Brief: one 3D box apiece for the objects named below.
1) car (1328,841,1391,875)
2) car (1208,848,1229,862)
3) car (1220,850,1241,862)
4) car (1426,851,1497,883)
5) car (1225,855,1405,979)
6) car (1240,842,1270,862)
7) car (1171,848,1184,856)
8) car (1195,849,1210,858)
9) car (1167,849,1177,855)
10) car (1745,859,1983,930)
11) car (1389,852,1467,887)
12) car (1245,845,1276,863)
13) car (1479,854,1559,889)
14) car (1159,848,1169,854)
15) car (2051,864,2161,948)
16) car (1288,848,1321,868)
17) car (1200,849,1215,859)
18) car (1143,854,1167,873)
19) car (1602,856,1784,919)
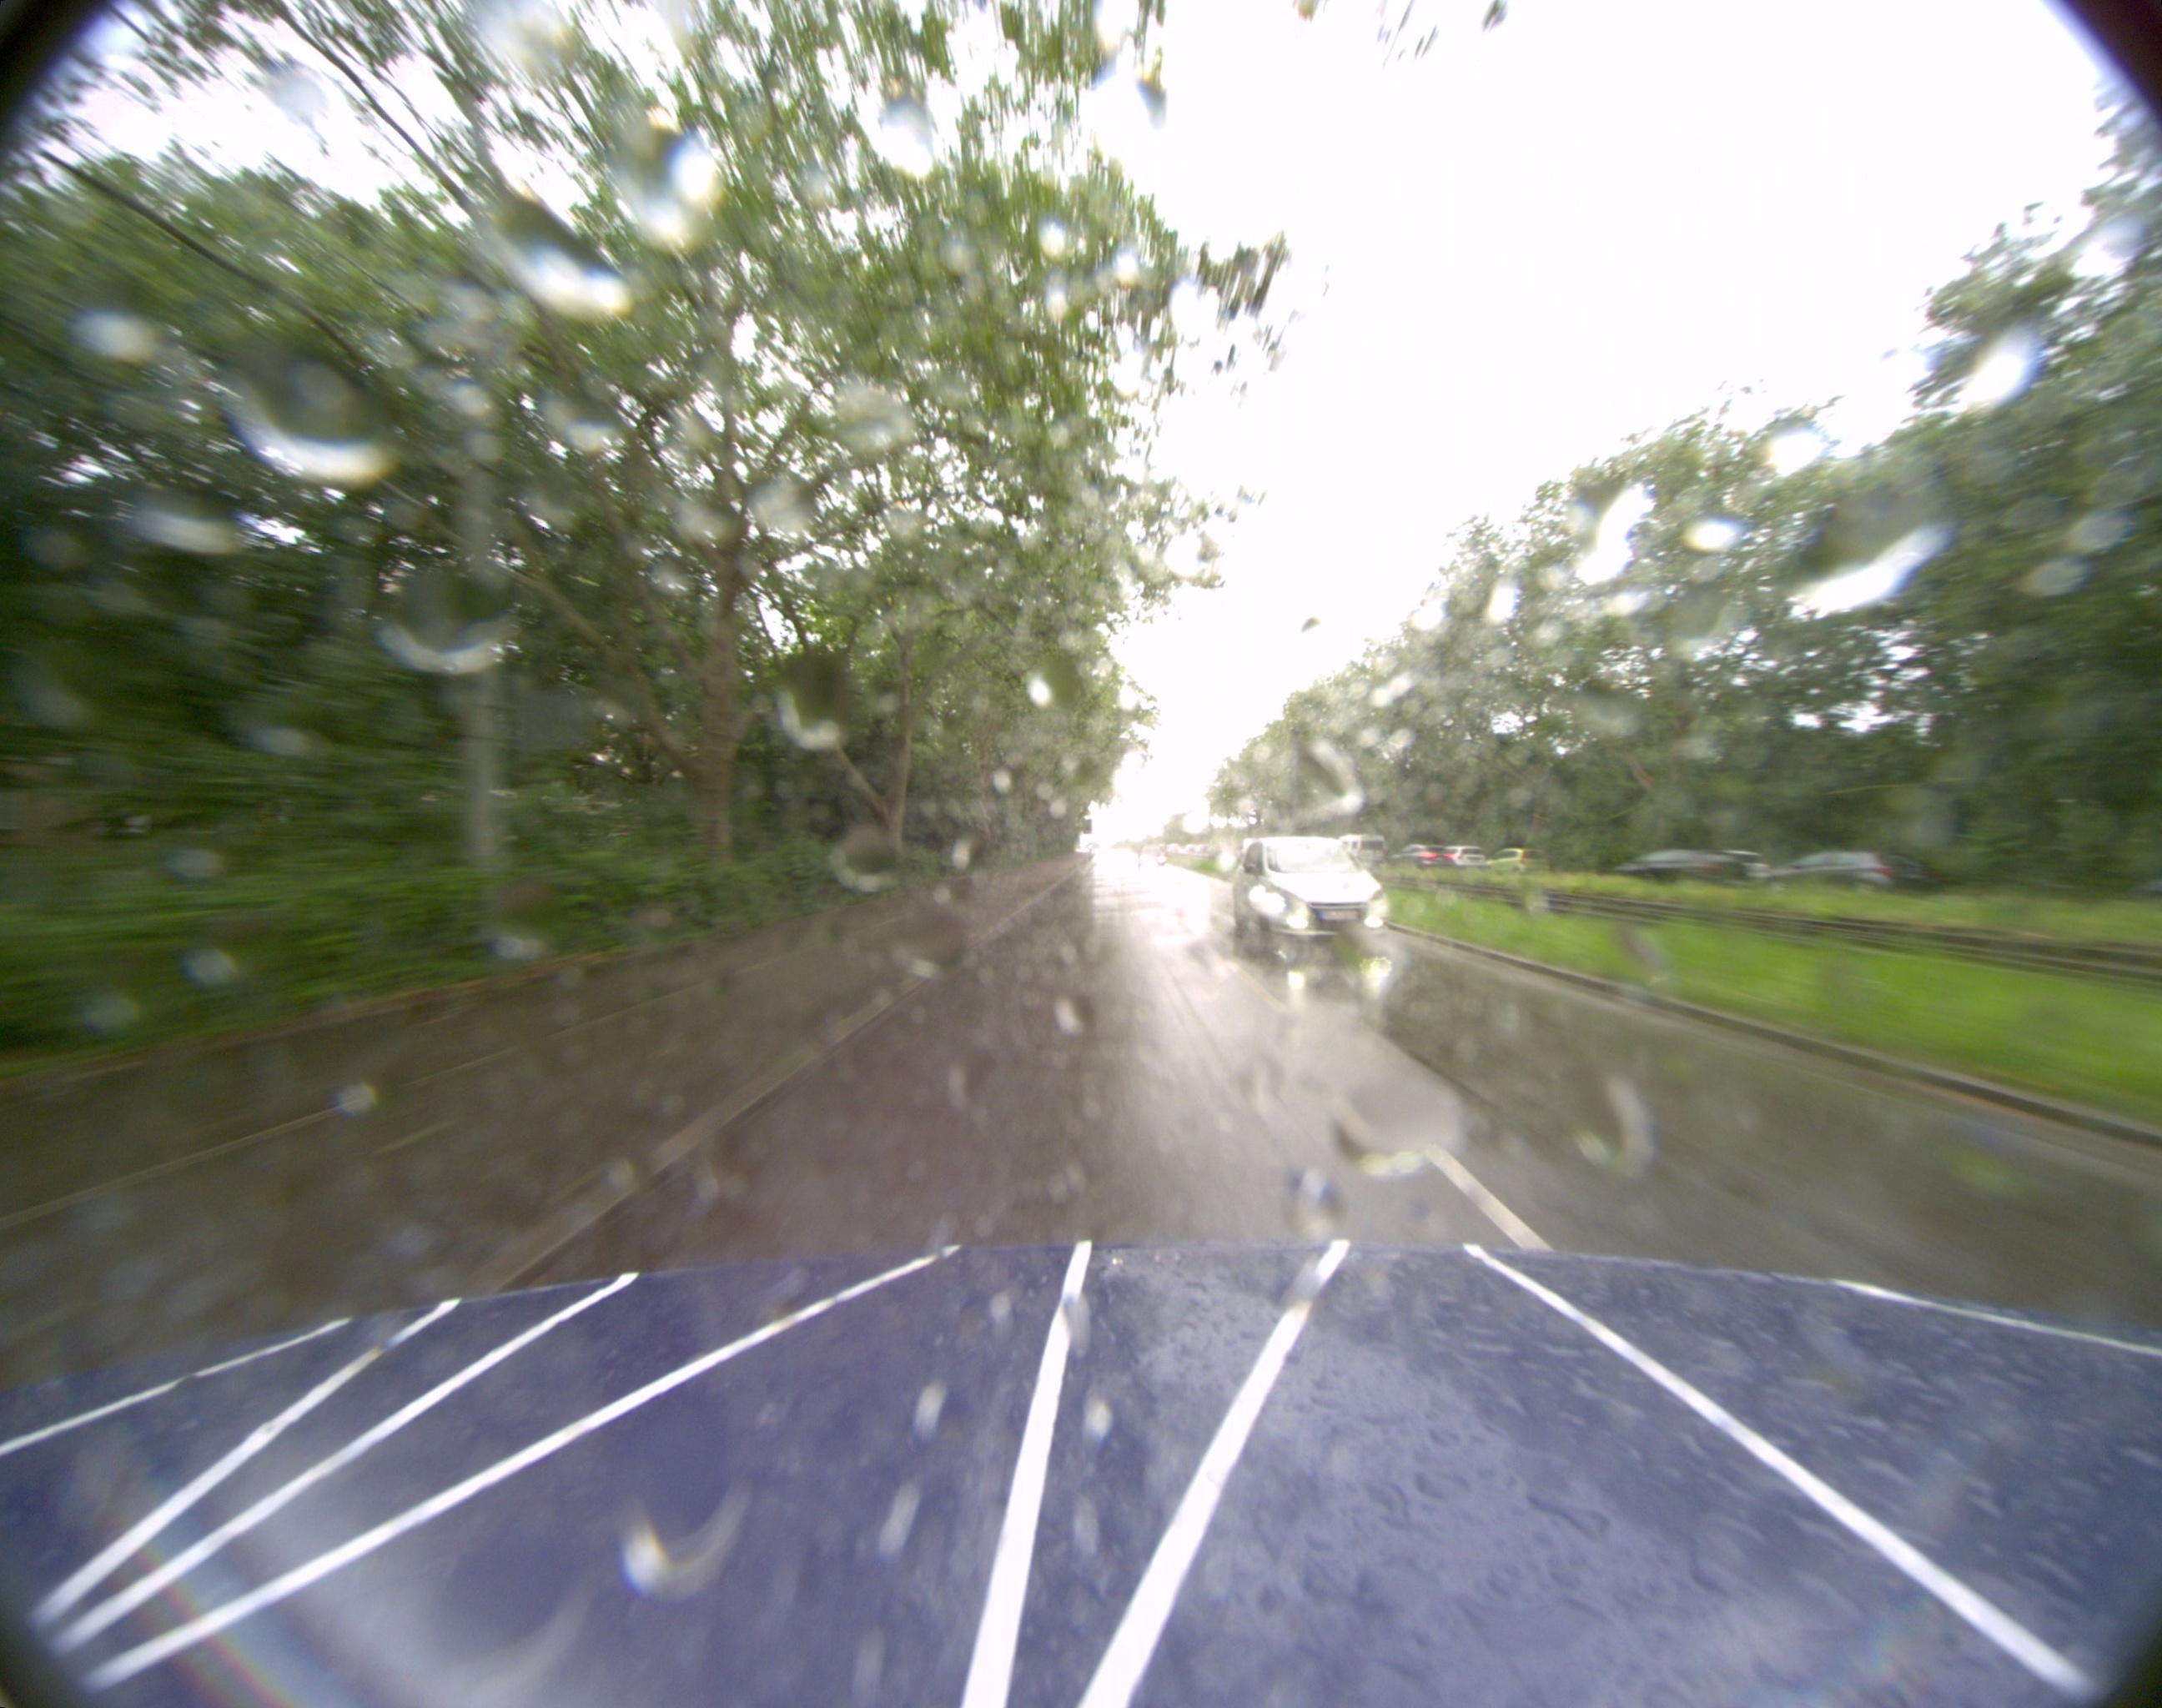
[{"bbox_3d":[21.803,0.247,59.777,2.396,2.526,6.565,1,1,-1],"label":"car"},{"bbox_3d":[18.508,0.112,102.490,2.037,1.741,4.258,1,1,-1],"label":"car"},{"bbox_3d":[22.151,0.286,112.664,2.038,1.543,4.383,1,1,-1],"label":"car"},{"bbox_3d":[22.107,0.721,44.351,1.755,1.718,4.530,1,1,-1],"label":"car"},{"bbox_3d":[3.589,0.870,12.488,1.869,1.614,4.263,-1,1,4],"label":"car"},{"bbox_3d":[22.127,-0.264,96.972,2.335,2.432,6.138,1,1,0],"label":"car"},{"bbox_3d":[19.975,-0.484,157.639,1.983,1.558,4.767,1,1,0],"label":"car"},{"bbox_3d":[22.569,-0.131,141.336,1.890,1.502,4.578,1,1,0],"label":"car"},{"bbox_3d":[23.824,-0.582,199.266,2.038,1.458,4.917,0,1,-1],"label":"car"},{"bbox_3d":[22.616,1.084,22.299,2.037,1.741,4.693,1,1,-1],"label":"car"},{"bbox_3d":[18.381,0.773,40.482,2.019,1.648,4.394,1,1,-1],"label":"car"},{"bbox_3d":[18.519,-0.046,78.708,2.037,1.741,4.693,1,1,-1],"label":"car"},{"bbox_3d":[22.185,0.840,38.665,1.765,1.639,3.812,1,1,-1],"label":"car"},{"bbox_3d":[19.613,-0.720,180.264,2.038,1.543,4.565,1,1,1],"label":"car"},{"bbox_3d":[22.777,1.094,14.697,2.037,1.648,4.609,1,1,-1],"label":"car"},{"bbox_3d":[22.091,0.392,75.292,1.961,1.851,4.640,1,1,1],"label":"car"},{"bbox_3d":[22.441,0.028,134.996,1.890,1.641,4.368,1,1,0],"label":"car"},{"bbox_3d":[5.746,0.728,59.387,1.726,1.425,3.852,0,1,3],"label":"car"},{"bbox_3d":[18.576,0.950,23.388,2.037,1.648,4.275,1,1,-2],"label":"car"}]
